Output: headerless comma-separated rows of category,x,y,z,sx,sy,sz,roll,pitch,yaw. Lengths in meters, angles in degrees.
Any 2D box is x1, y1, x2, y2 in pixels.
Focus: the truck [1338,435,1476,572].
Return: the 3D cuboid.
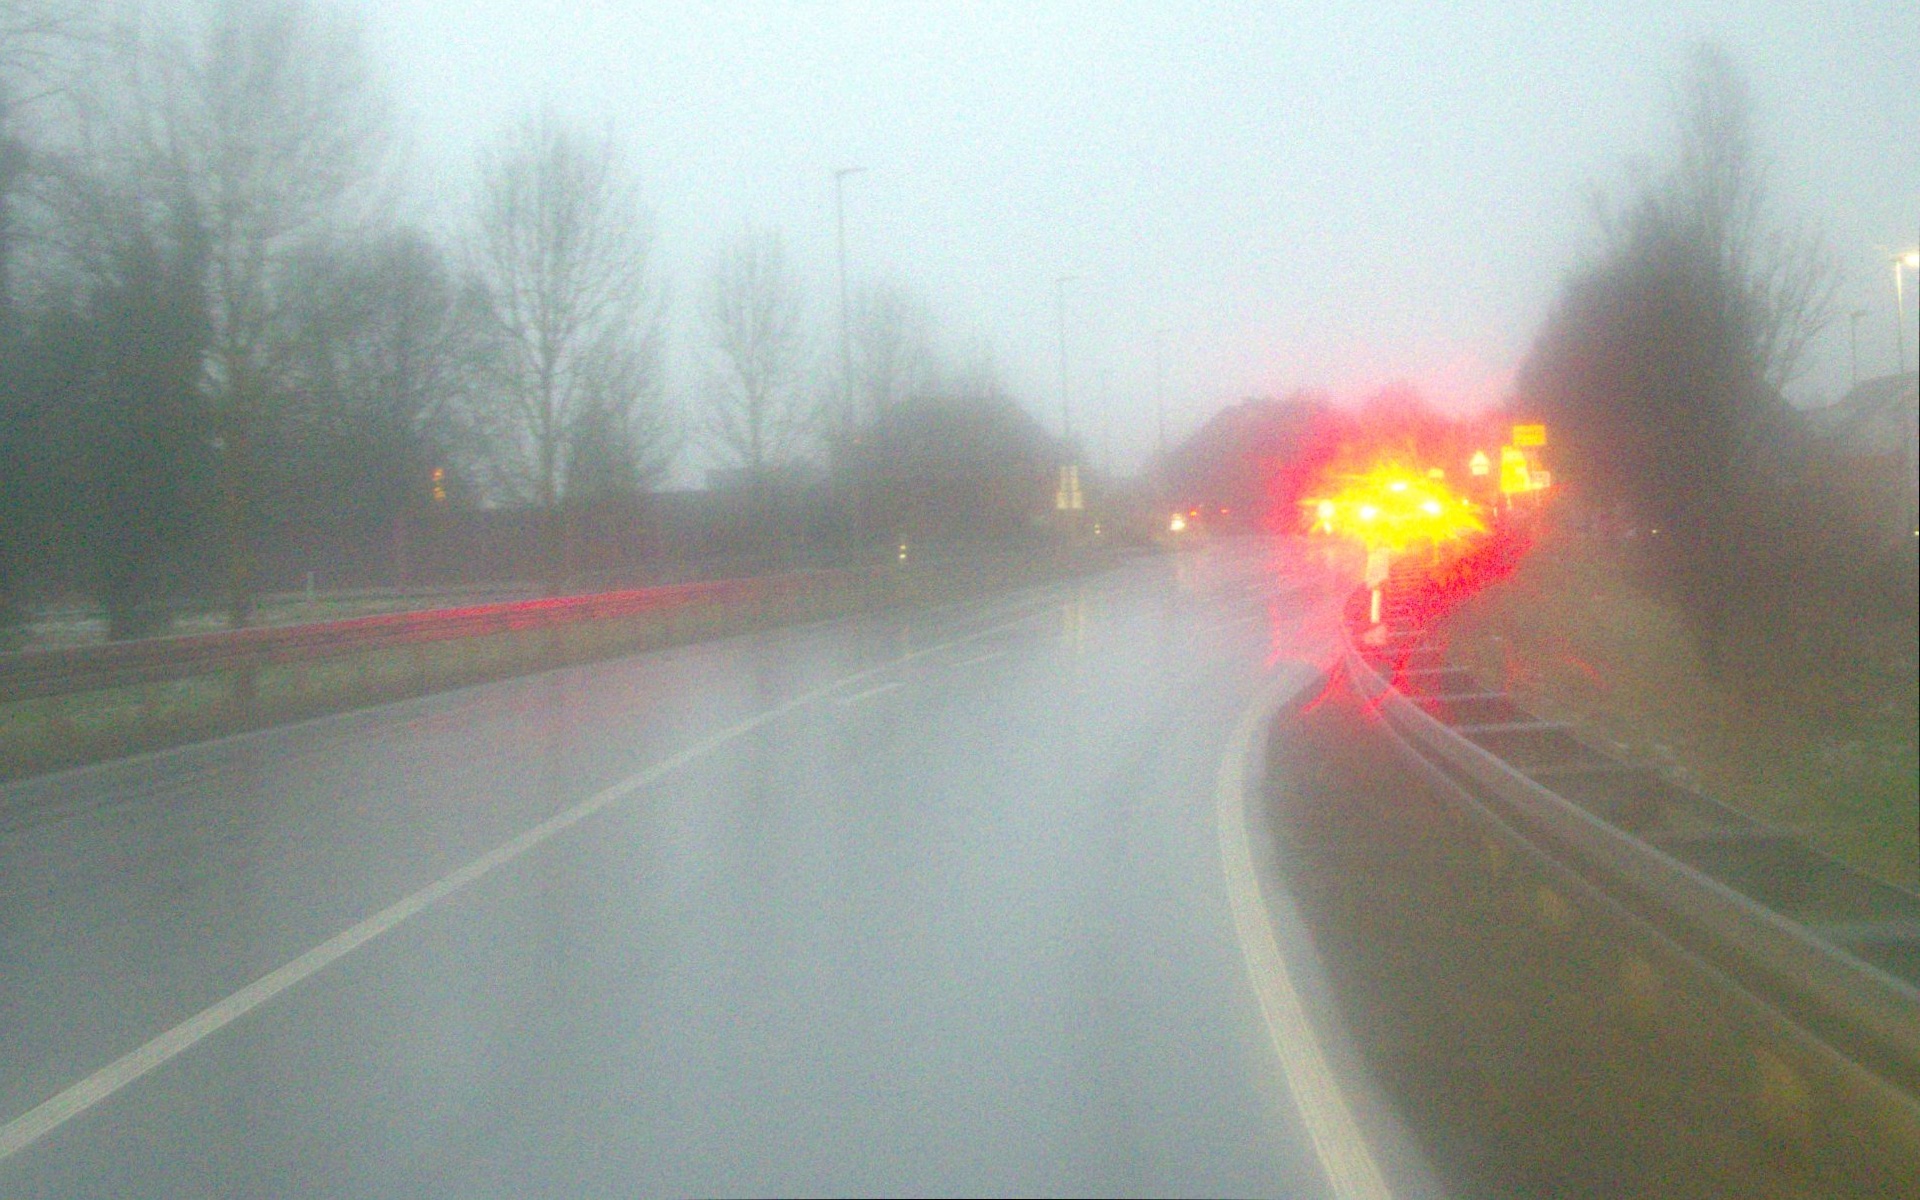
truck,10.360,-2.232,79.206,2.533,2.859,5.920,-4,1,12
